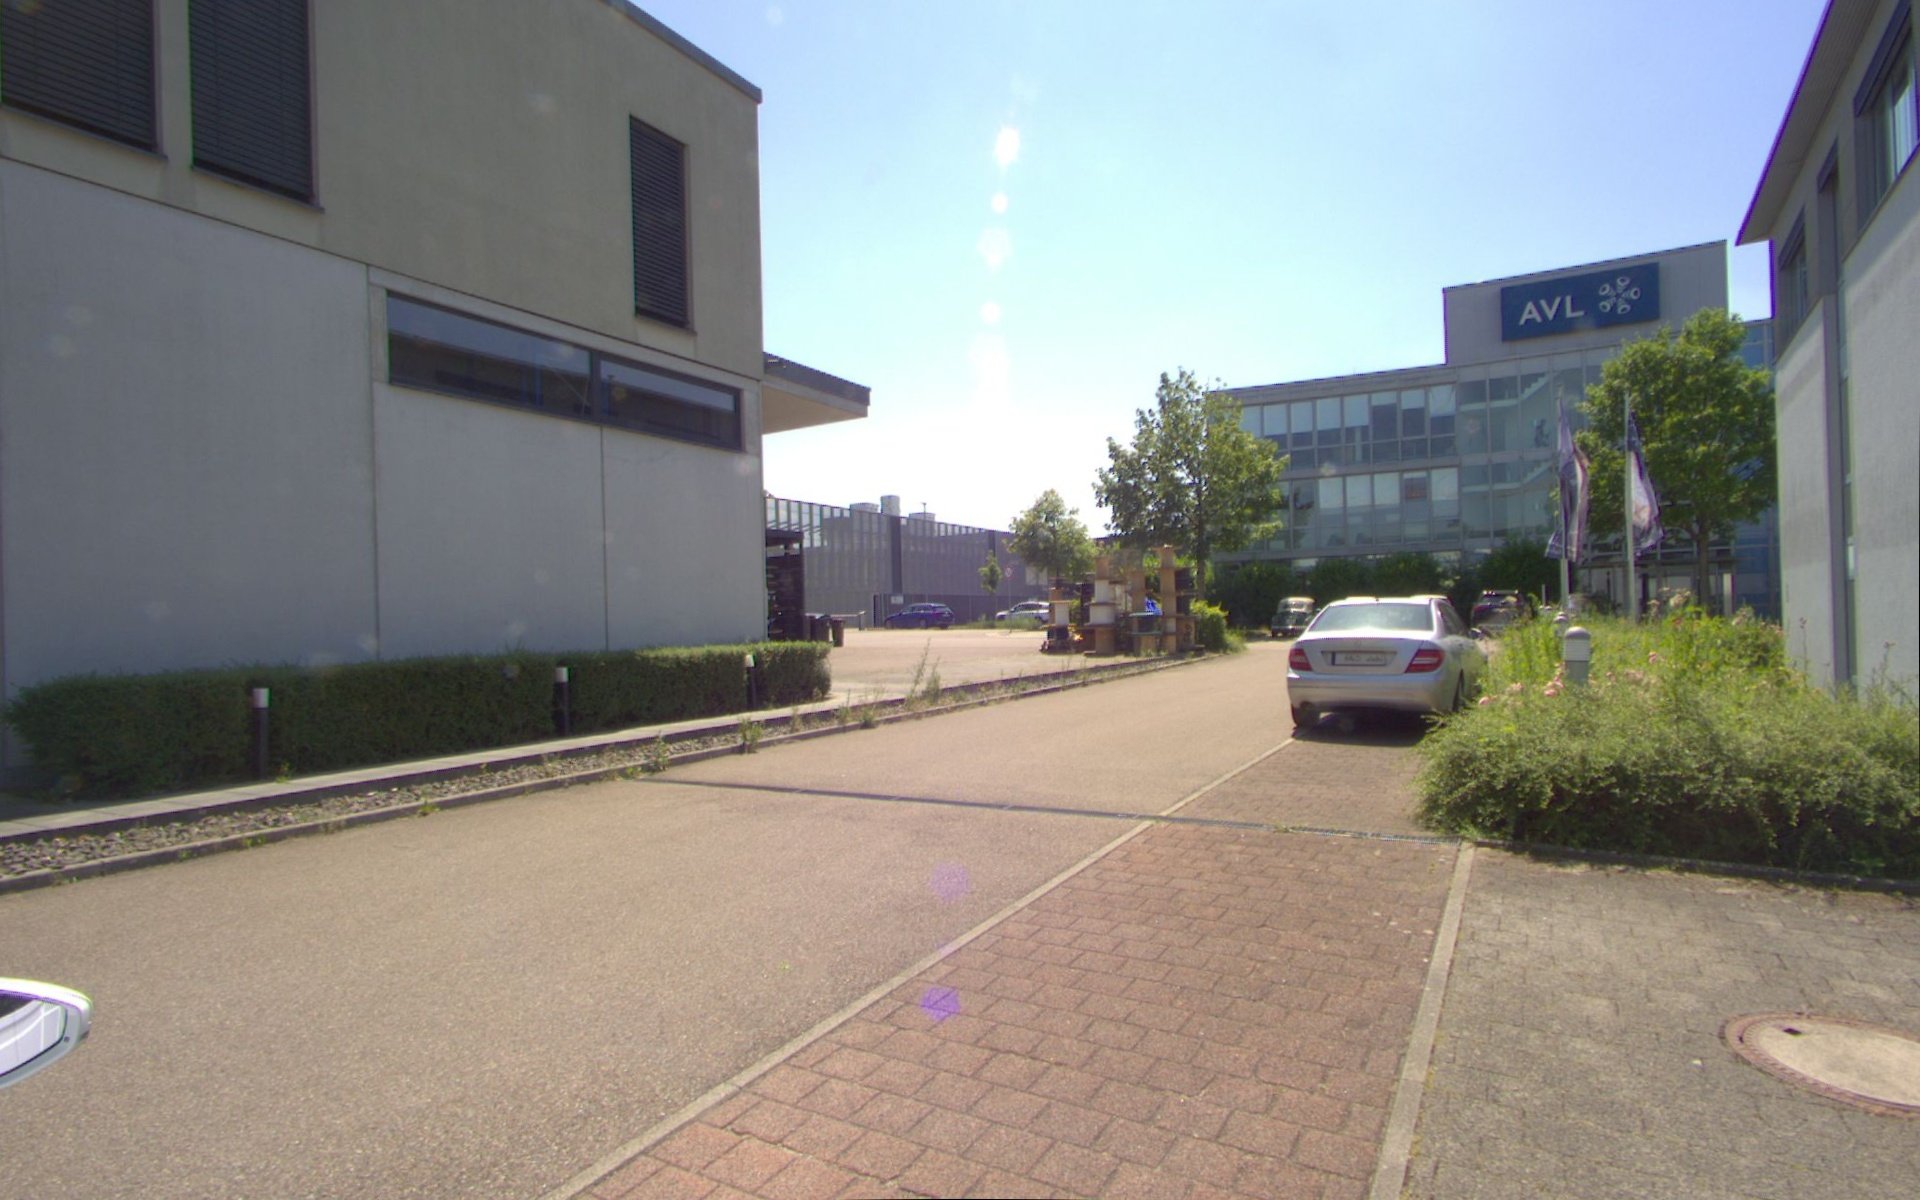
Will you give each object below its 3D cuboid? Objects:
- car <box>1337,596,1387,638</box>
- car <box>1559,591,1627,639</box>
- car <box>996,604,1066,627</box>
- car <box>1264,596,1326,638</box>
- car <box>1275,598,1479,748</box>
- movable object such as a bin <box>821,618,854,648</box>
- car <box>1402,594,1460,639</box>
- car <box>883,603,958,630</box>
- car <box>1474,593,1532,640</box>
[{"bbox_3d":[15.087,0.643,37.518,1.646,1.459,3.990,-1,-1,23],"label":"car"},{"bbox_3d":[21.314,0.523,33.819,1.723,1.538,3.983,-1,-1,29],"label":"car"},{"bbox_3d":[4.500,1.019,63.875,4.400,1.433,1.735,-1,-2,43],"label":"car"},{"bbox_3d":[12.922,0.659,38.481,1.722,1.538,3.986,-1,-1,27],"label":"car"},{"bbox_3d":[5.003,0.747,11.736,1.704,1.455,3.699,-1,-1,31],"label":"car"},{"bbox_3d":[-4.186,1.130,34.193,0.805,0.993,0.807,-1,-1,30],"label":"movable object such as a bin"},{"bbox_3d":[17.295,0.625,36.910,1.720,1.538,3.990,-1,-1,23],"label":"car"},{"bbox_3d":[-2.291,0.972,56.793,4.402,1.433,1.734,-1,-2,45],"label":"car"},{"bbox_3d":[19.193,0.588,35.348,1.723,1.538,3.983,-1,-1,29],"label":"car"}]
